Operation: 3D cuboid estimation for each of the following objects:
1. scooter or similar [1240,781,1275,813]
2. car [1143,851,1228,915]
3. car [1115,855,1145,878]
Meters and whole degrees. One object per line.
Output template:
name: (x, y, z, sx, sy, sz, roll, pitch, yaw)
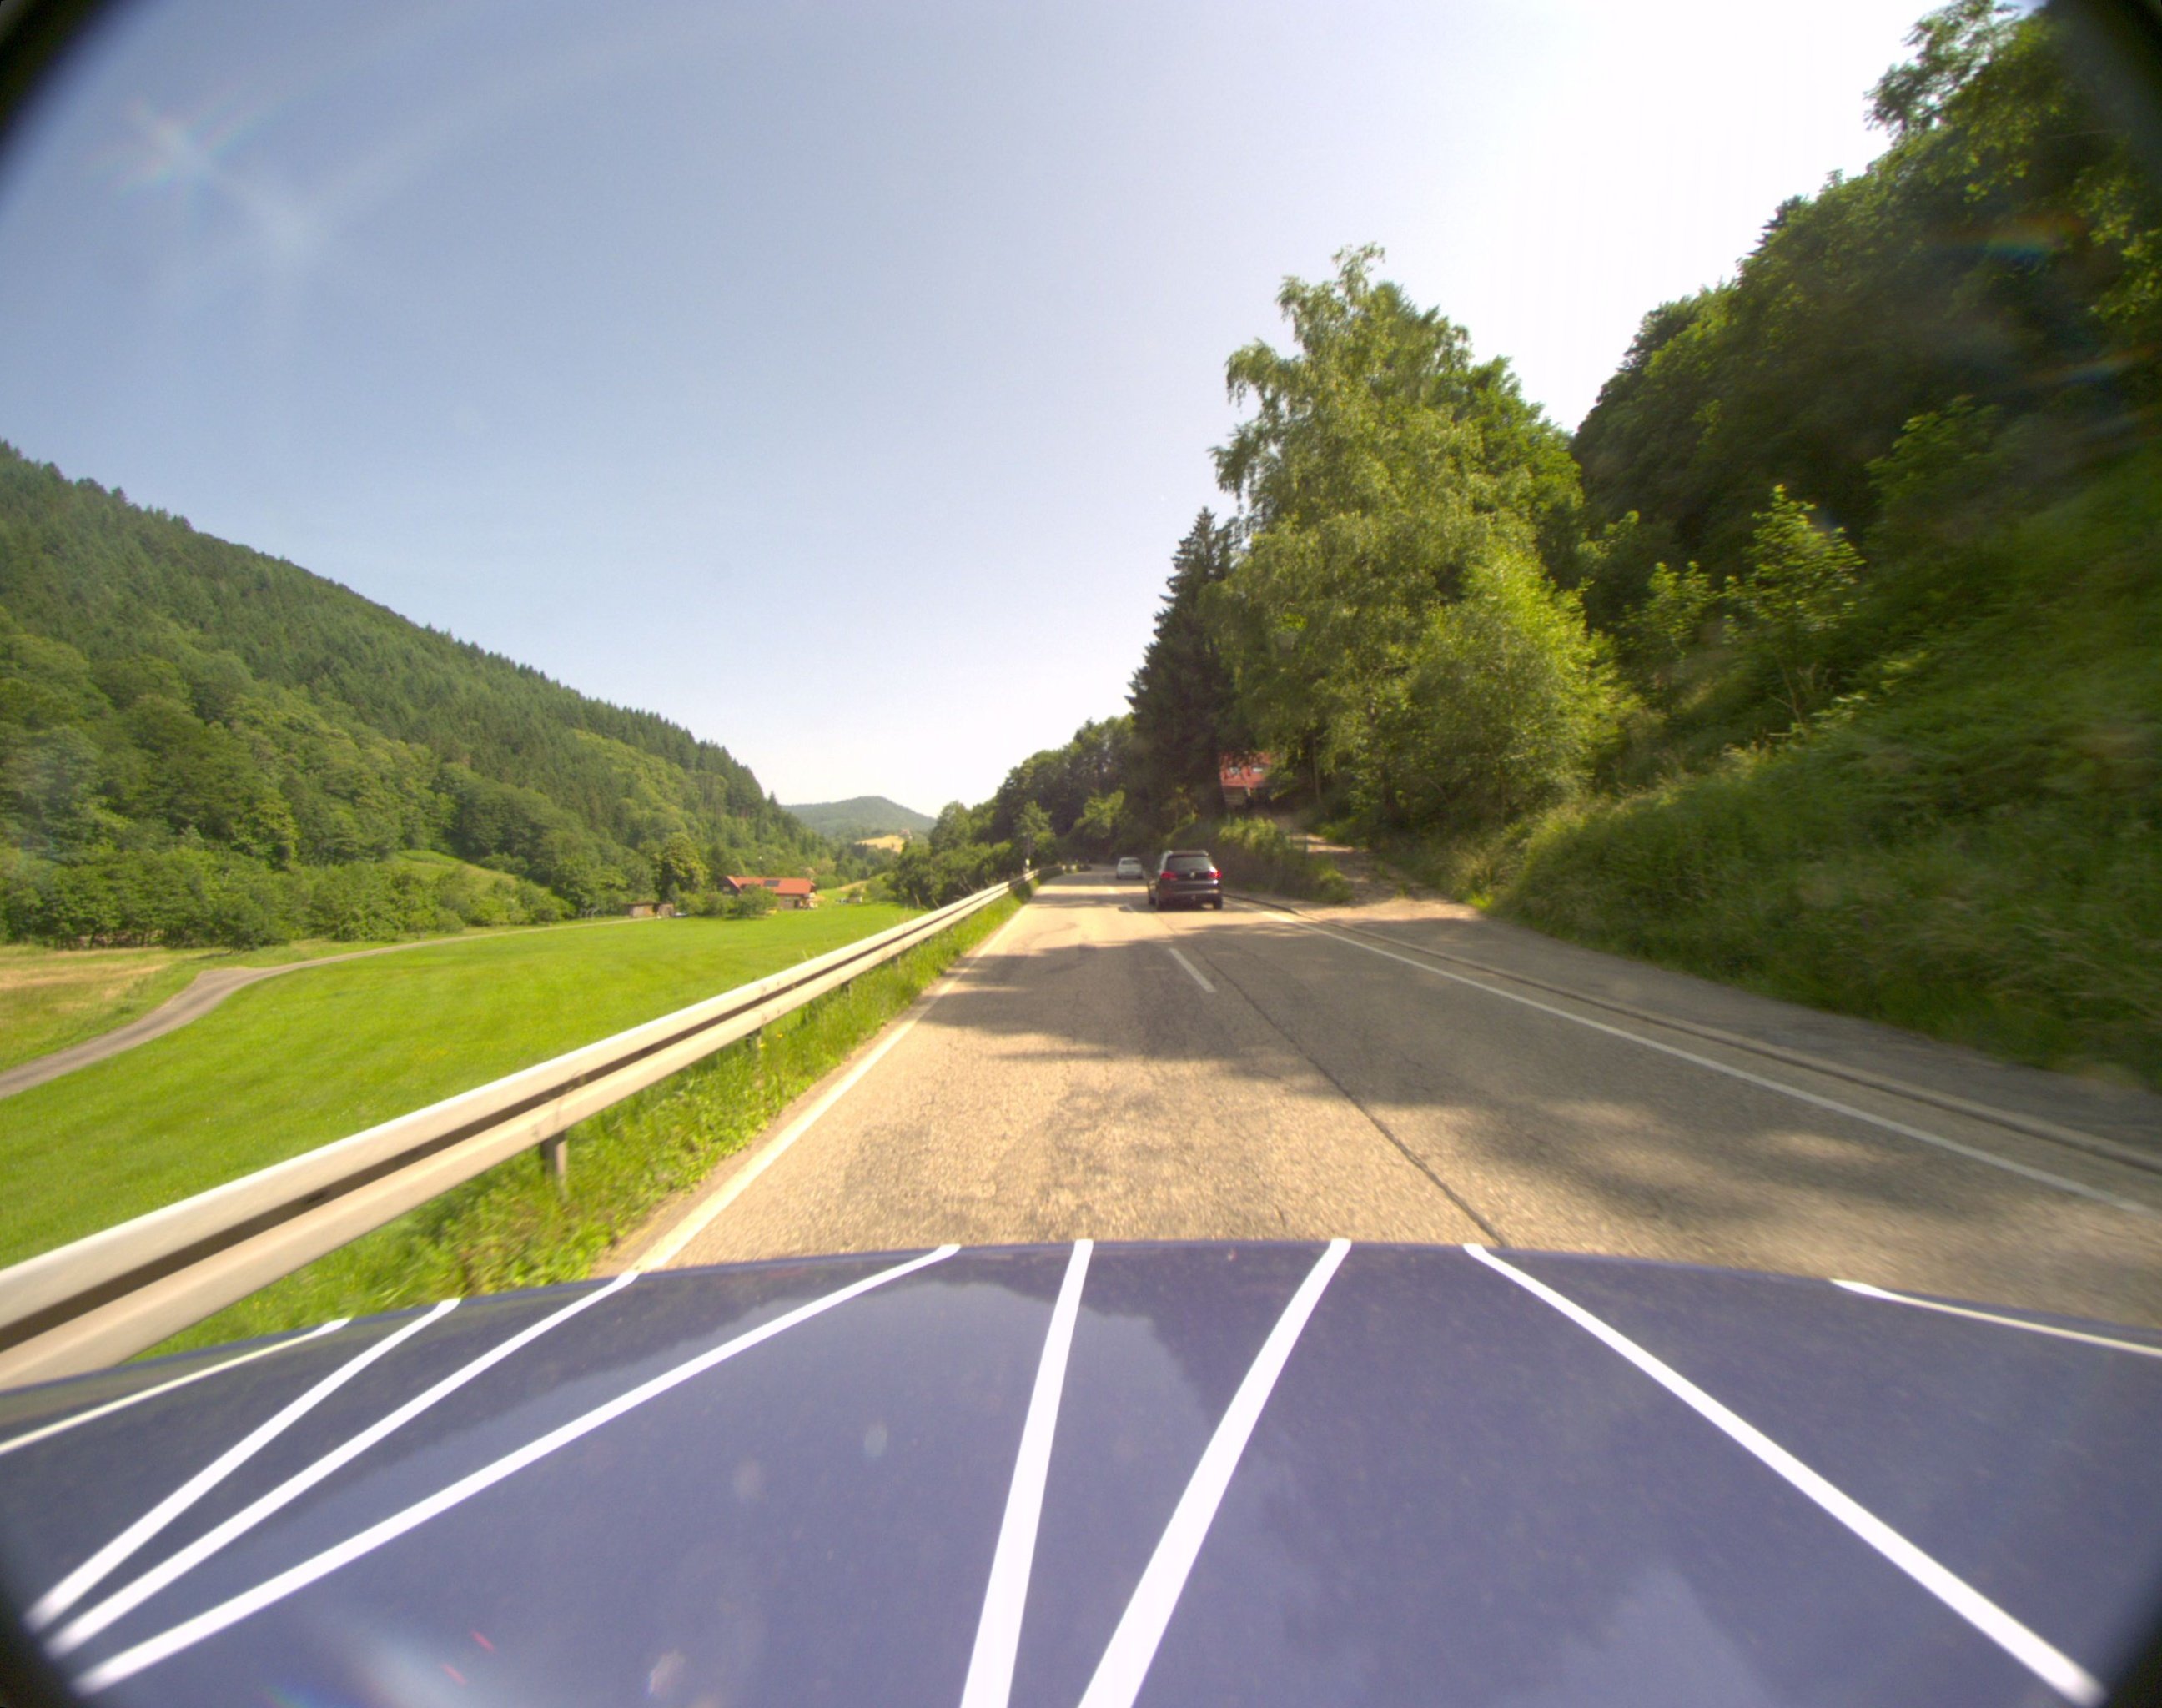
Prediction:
scooter or similar: (13.543, -4.371, 58.509, 1.982, 2.015, 4.406, -4, 0, 5)
car: (2.947, 0.764, 22.288, 1.894, 1.635, 4.257, -1, 1, 0)
car: (3.303, 0.789, 51.563, 1.782, 1.429, 3.999, 0, 1, 0)
